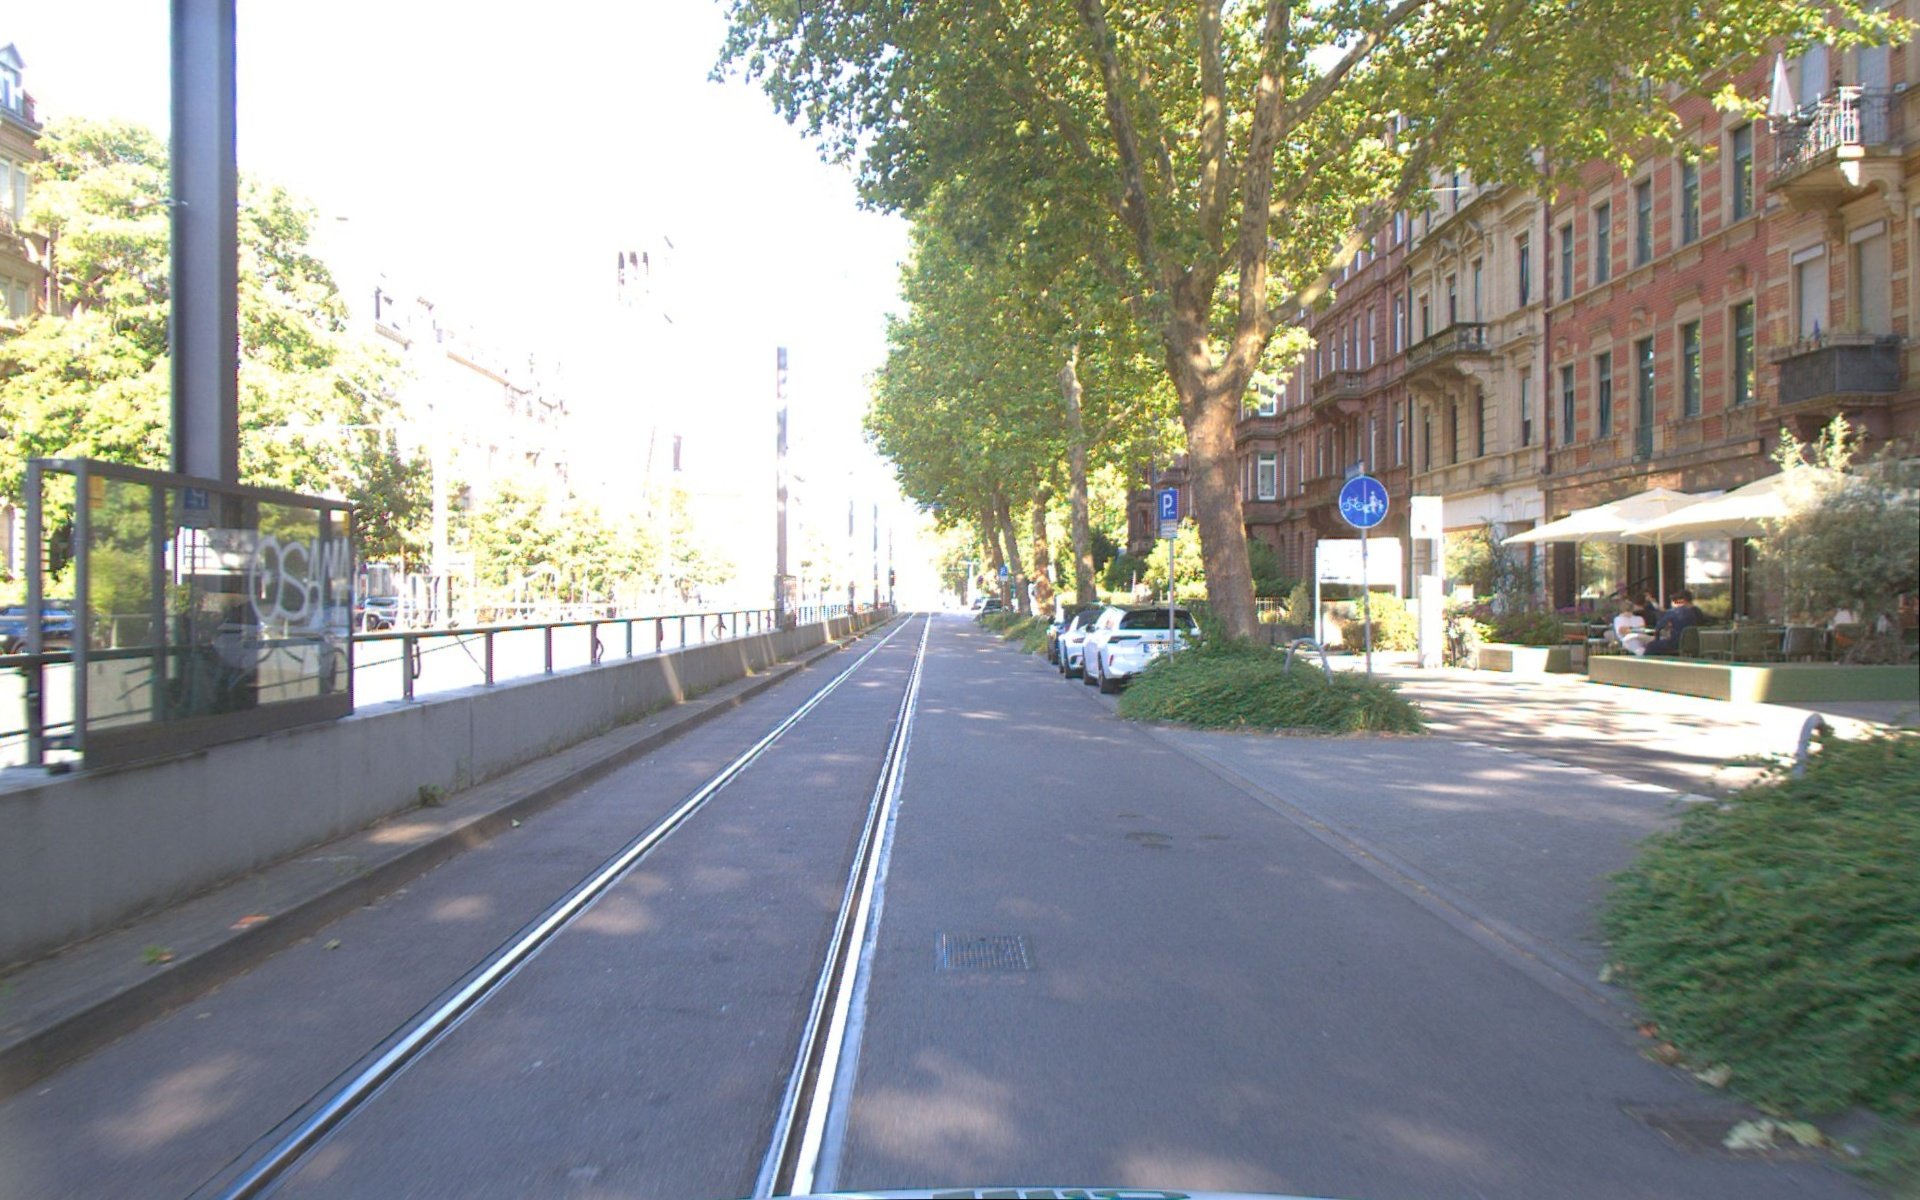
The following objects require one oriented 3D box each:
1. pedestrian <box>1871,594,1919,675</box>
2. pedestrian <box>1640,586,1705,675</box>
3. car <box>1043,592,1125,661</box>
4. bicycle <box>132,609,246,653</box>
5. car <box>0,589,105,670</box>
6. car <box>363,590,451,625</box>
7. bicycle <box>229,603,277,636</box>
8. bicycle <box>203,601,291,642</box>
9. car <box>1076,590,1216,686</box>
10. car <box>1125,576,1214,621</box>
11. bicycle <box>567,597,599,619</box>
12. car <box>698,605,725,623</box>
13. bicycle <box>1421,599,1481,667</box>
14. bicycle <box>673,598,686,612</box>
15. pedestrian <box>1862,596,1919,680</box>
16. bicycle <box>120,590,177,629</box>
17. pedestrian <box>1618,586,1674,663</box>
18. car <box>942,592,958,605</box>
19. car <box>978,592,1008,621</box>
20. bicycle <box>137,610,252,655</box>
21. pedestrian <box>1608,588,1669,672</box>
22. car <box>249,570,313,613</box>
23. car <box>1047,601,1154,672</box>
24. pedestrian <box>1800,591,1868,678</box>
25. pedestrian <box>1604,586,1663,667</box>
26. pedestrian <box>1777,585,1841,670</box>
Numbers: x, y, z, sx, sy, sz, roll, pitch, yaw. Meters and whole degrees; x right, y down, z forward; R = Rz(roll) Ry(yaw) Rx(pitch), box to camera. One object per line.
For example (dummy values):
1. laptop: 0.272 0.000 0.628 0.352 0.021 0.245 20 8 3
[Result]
1. pedestrian: 13.079 0.474 22.976 0.545 1.121 0.526 0 0 -2
2. pedestrian: 10.810 0.460 25.098 0.698 1.323 0.662 0 0 -2
3. car: 2.984 0.611 40.597 1.696 1.563 4.805 0 0 0
4. bicycle: -21.292 0.867 45.704 2.753 1.117 0.635 3 0 -34
5. car: -20.989 0.610 36.958 1.796 1.612 3.998 3 0 -3
6. car: -28.002 0.354 83.849 3.914 1.653 1.821 2 0 -10
7. bicycle: -21.479 0.595 50.223 1.252 0.921 0.533 3 0 -32
8. bicycle: -21.375 0.649 49.610 2.344 1.117 0.551 3 0 -32
9. car: 3.097 0.592 28.394 1.766 1.503 4.645 0 0 -2
10. car: 10.553 -0.080 83.571 4.093 2.049 1.999 -2 0 -3
11. bicycle: -22.088 0.477 96.847 1.694 1.302 0.600 0 0 5
12. car: -23.121 1.269 153.833 1.680 1.582 4.510 3 0 1
13. bicycle: 8.918 0.582 30.094 0.465 1.163 1.895 -2 0 -1
14. bicycle: -22.694 0.384 133.778 0.479 1.040 1.879 3 0 -24
15. pedestrian: 13.657 0.544 24.068 0.698 1.192 0.662 0 0 -1
16. bicycle: -24.615 0.277 50.190 0.544 1.117 2.375 3 0 -1
17. pedestrian: 11.872 0.418 28.653 0.698 1.323 0.663 0 0 0
18. car: -1.172 -0.159 195.853 1.710 1.487 3.643 3 0 -2
19. car: 1.932 0.371 98.095 1.584 1.615 4.415 -1 0 -2
20. bicycle: -20.888 0.889 45.150 2.753 1.117 0.635 3 0 -34
21. pedestrian: 10.816 0.468 26.389 0.698 1.323 0.662 0 0 -2
22. car: -32.033 -0.429 78.136 1.959 1.881 4.466 3 0 -13
23. car: 2.792 0.698 33.609 1.793 1.350 3.999 0 0 -1
24. pedestrian: 13.440 0.526 25.448 0.698 1.323 0.662 0 0 -2
25. pedestrian: 11.181 0.431 27.460 0.698 1.323 0.662 0 0 -1
26. pedestrian: 13.491 0.430 26.303 0.647 1.323 0.715 0 0 -2
